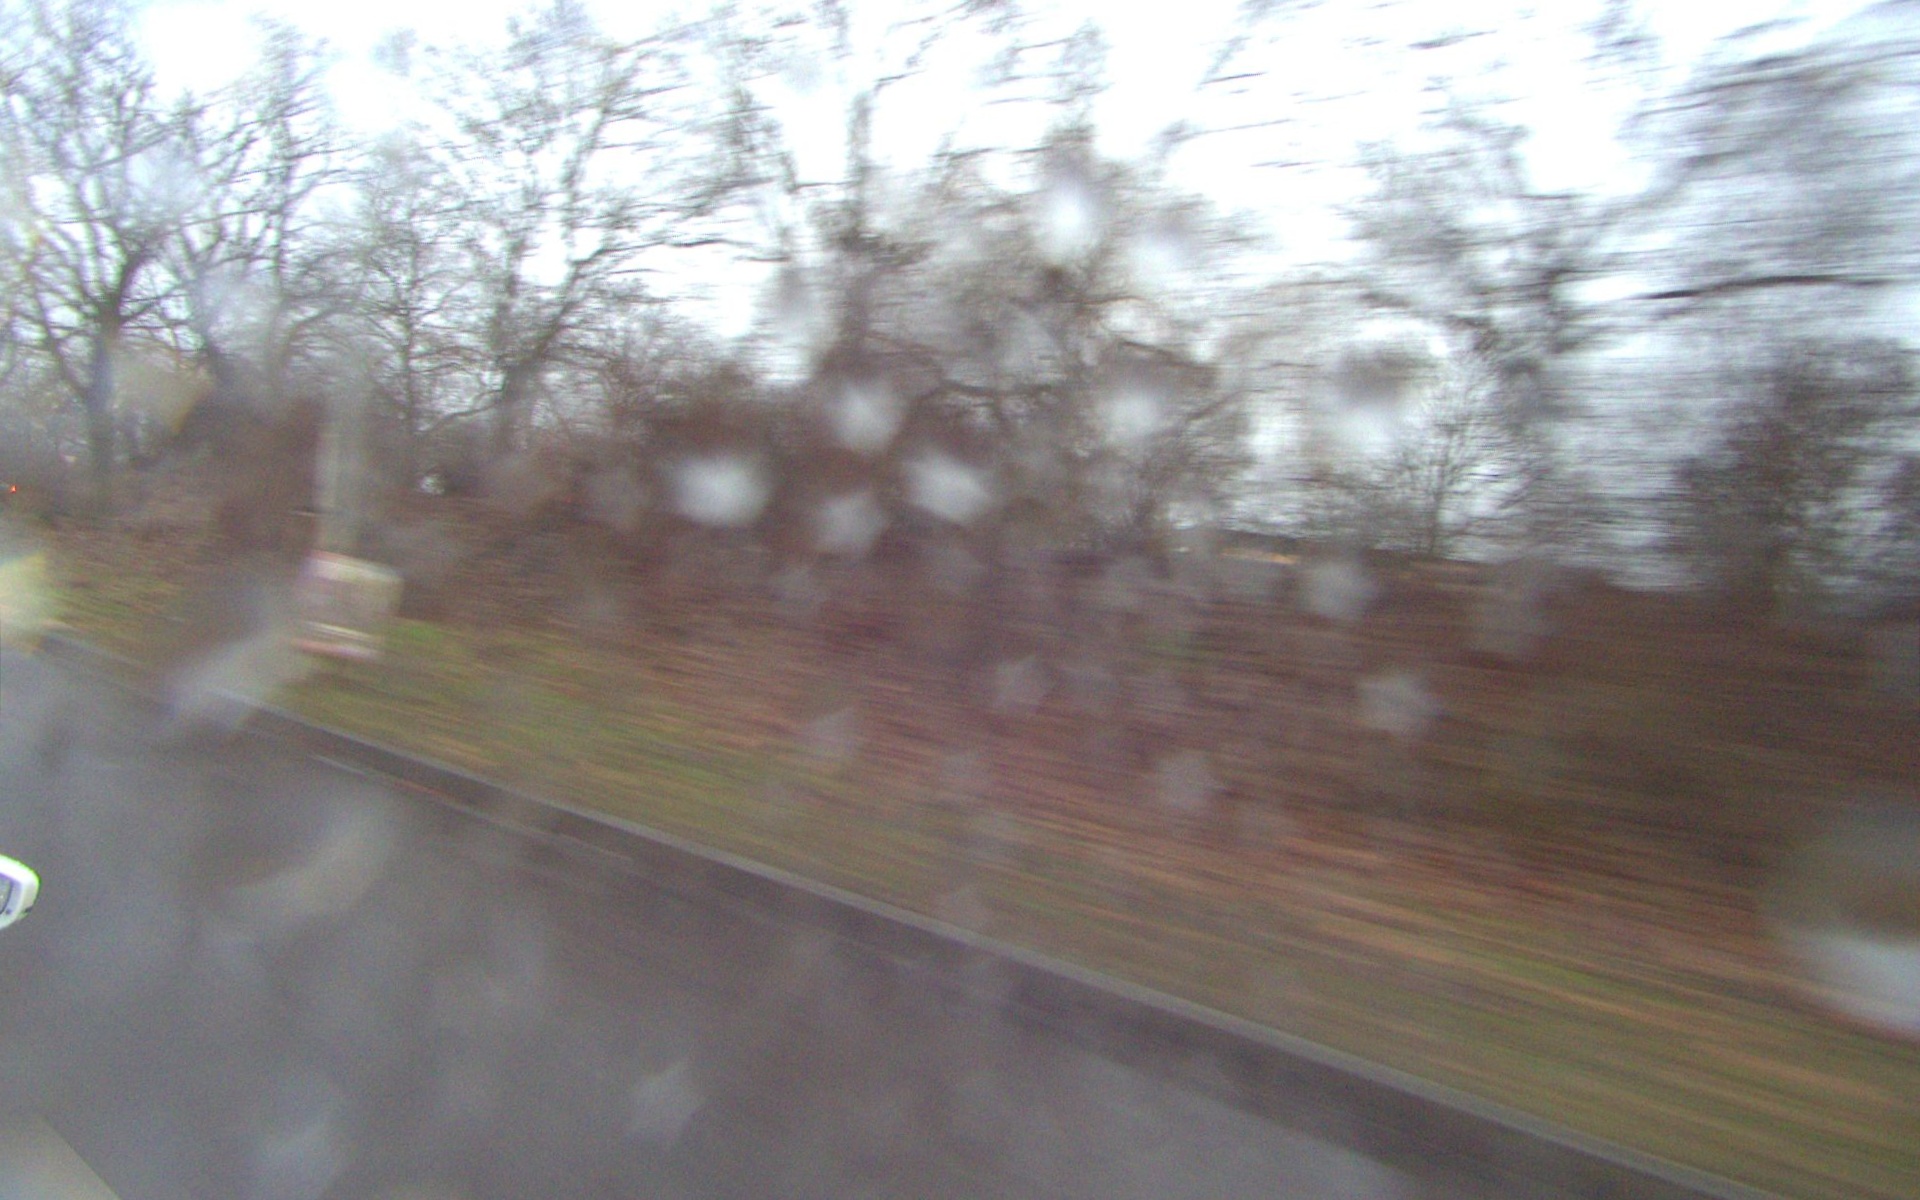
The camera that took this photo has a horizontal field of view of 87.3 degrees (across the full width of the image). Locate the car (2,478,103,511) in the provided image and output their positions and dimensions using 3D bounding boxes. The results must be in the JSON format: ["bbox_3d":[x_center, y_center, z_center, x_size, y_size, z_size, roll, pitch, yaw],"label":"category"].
[{"bbox_3d":[-62.427,-7.246,69.281,1.851,1.393,4.748,7,-1,30],"label":"car"}]
